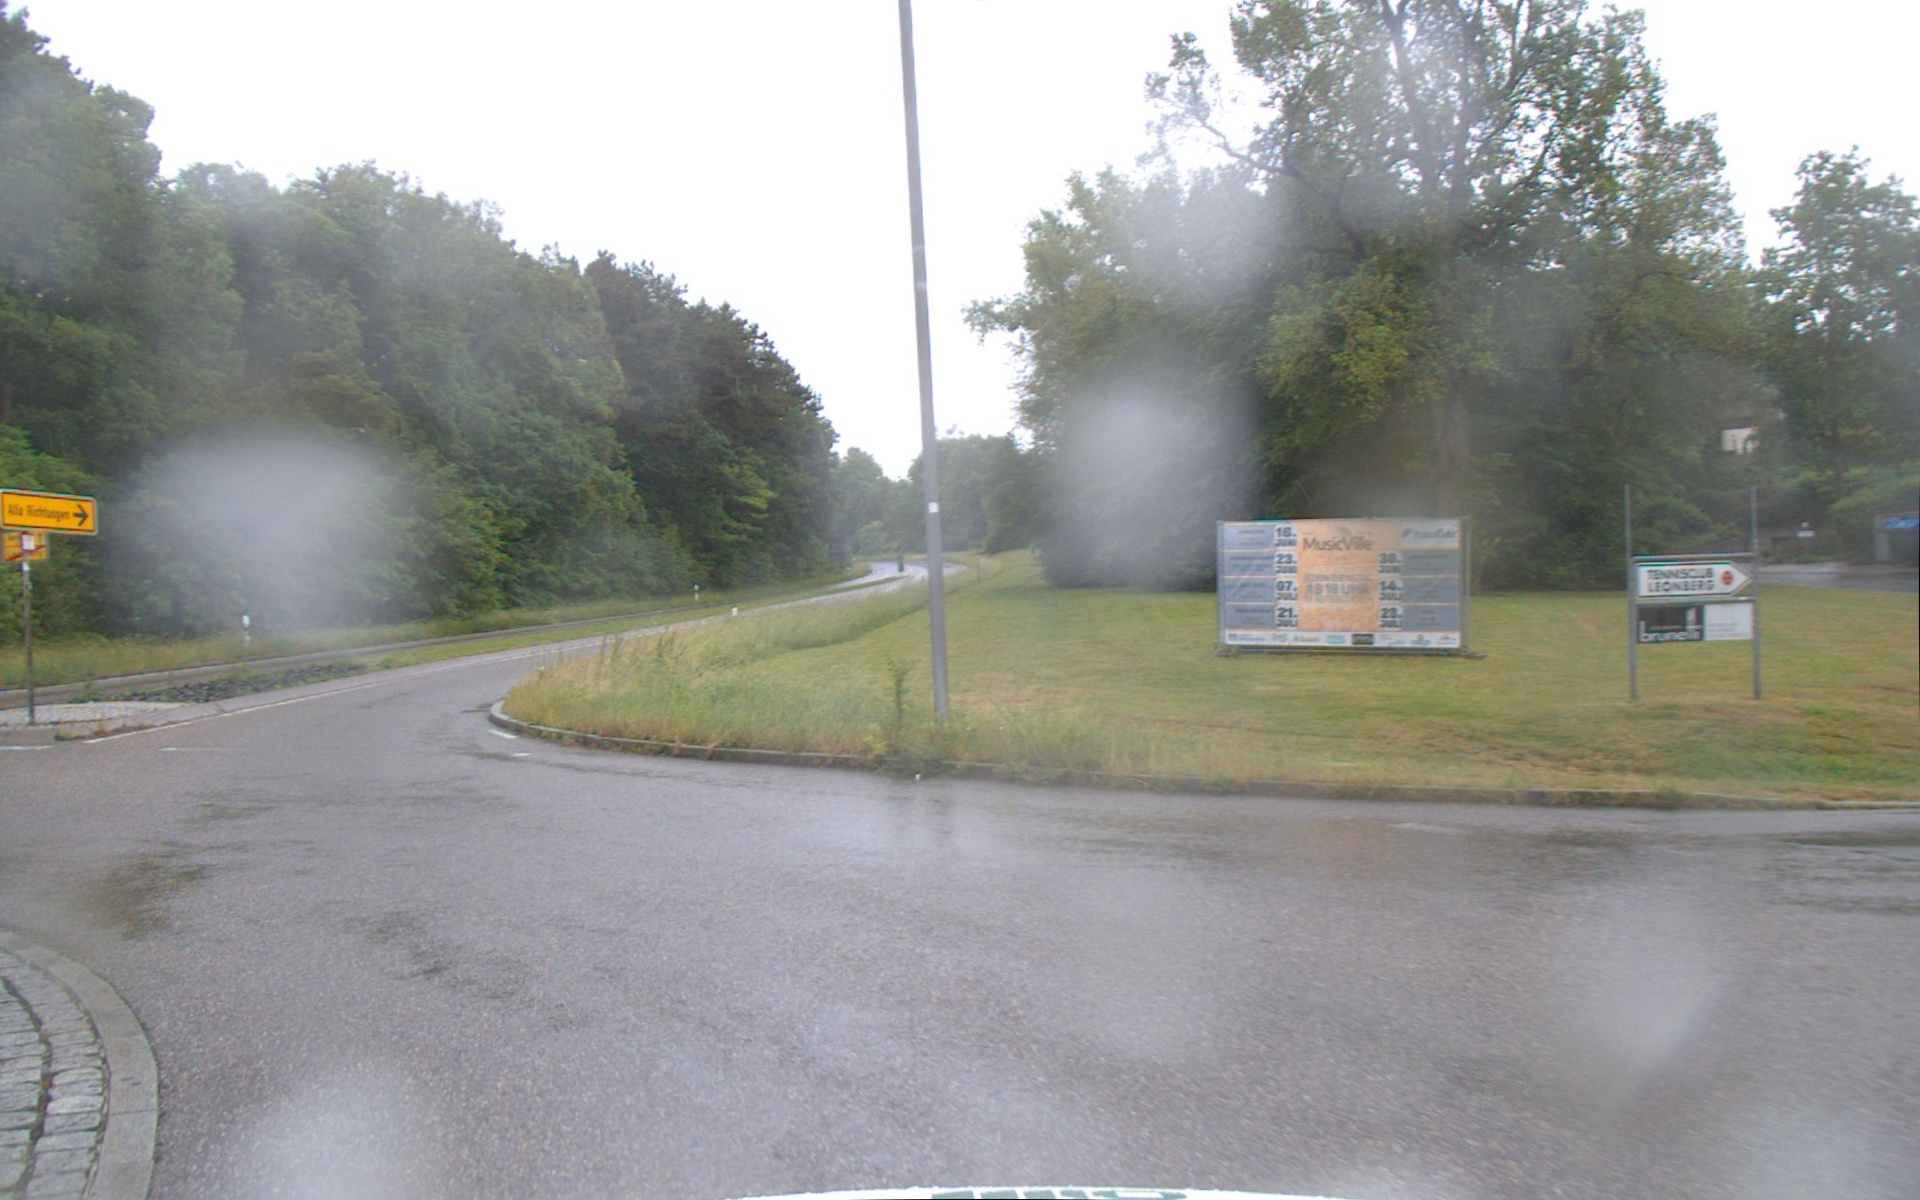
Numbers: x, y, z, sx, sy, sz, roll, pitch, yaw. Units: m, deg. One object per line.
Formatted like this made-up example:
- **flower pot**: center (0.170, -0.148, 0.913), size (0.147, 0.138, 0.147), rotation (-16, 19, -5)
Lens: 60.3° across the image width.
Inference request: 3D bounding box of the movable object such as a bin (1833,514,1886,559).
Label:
- **movable object such as a bin**: center (30.838, -2.172, 56.753), size (1.168, 1.462, 1.430), rotation (-2, 1, 10)
